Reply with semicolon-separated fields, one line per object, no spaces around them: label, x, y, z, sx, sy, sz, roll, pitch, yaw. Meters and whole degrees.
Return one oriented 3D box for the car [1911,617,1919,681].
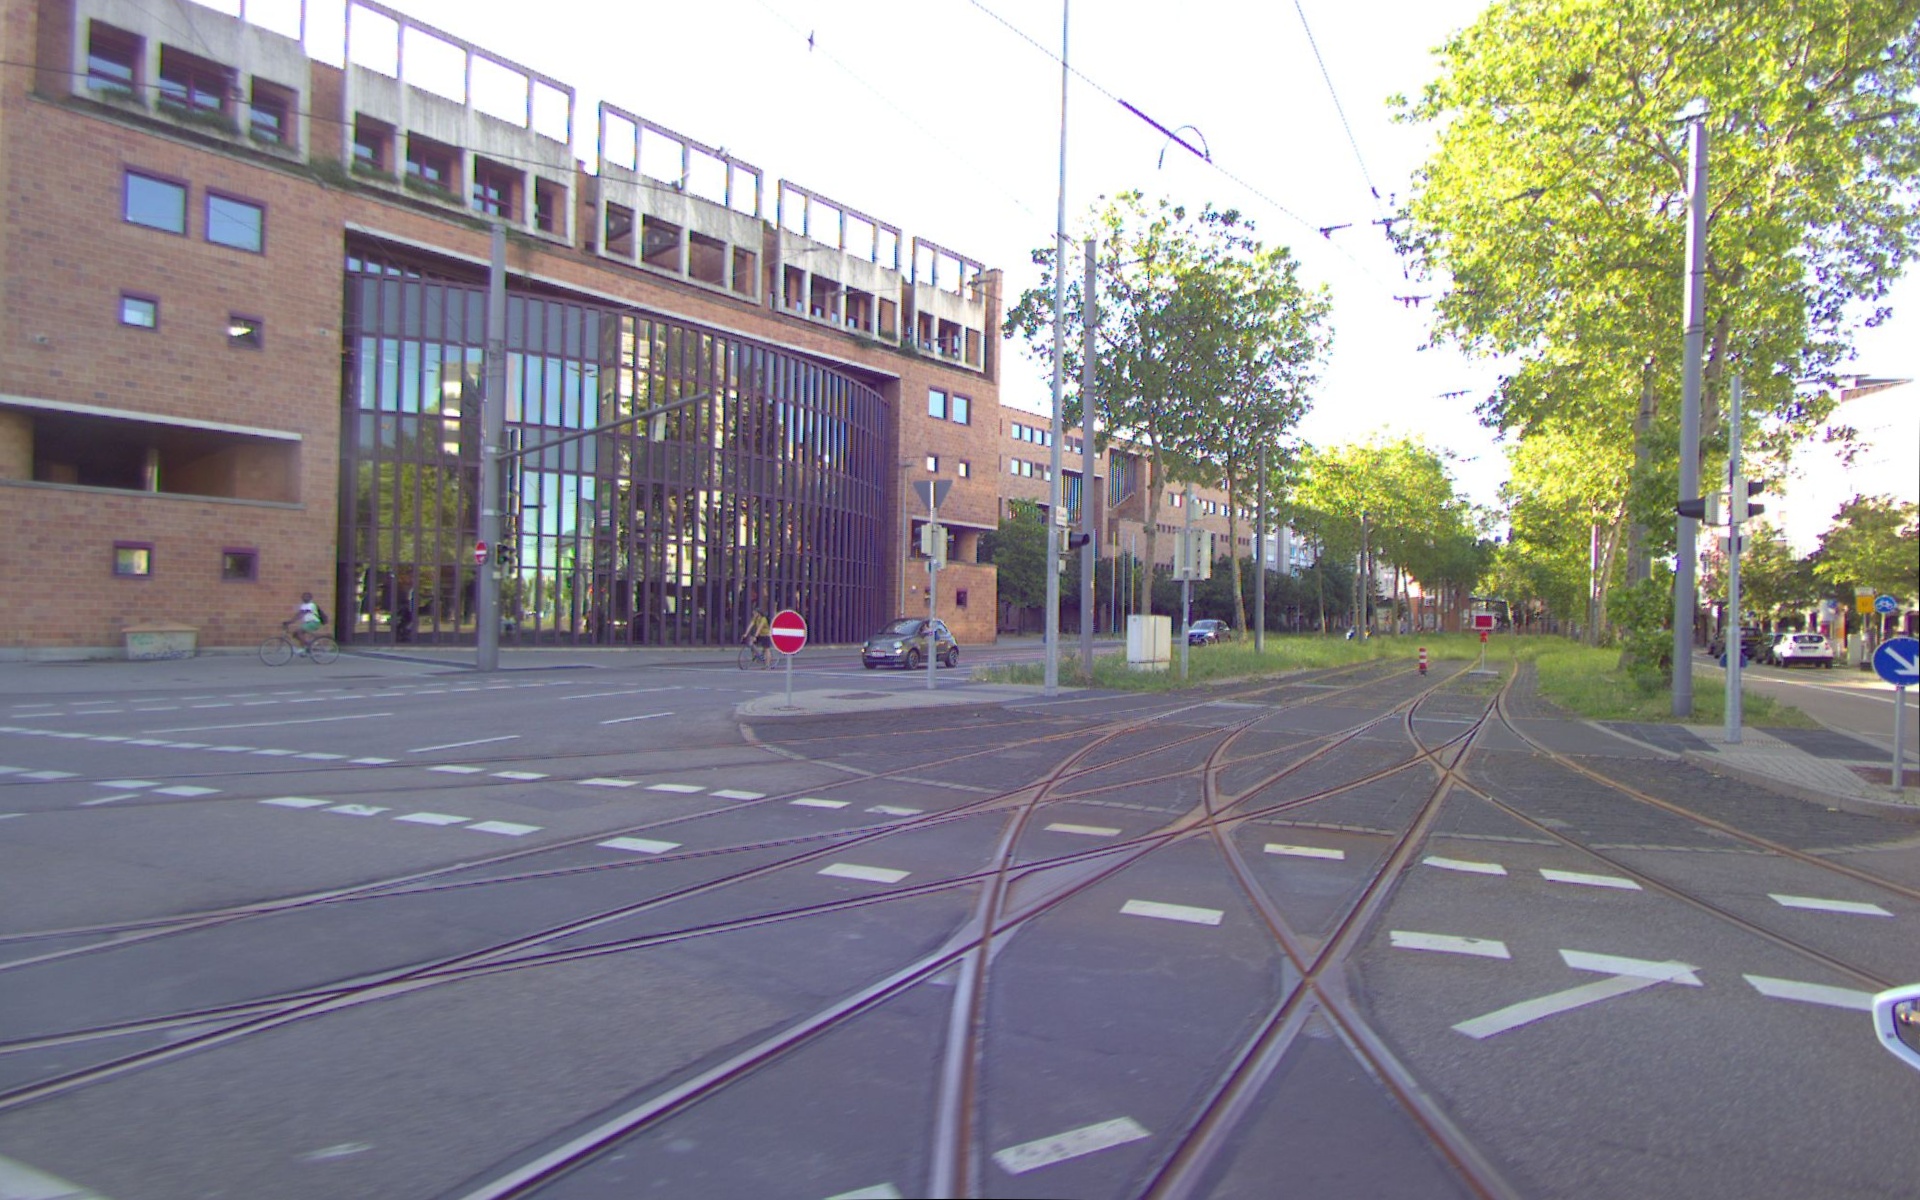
car;27.852;1.333;27.195;1.895;1.867;4.915;-3;-3;30

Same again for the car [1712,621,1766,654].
car;48.534;2.301;62.657;2.000;2.003;4.407;-1;-2;30

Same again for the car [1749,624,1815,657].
car;43.038;2.098;52.665;1.958;1.650;4.078;-1;-2;30

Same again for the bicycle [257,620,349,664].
bicycle;-17.022;1.085;26.047;1.907;1.094;0.608;2;-1;-45

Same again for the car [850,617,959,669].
car;-1.551;1.211;29.545;1.625;1.346;3.617;0;0;27

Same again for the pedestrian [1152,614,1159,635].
pedestrian;14.526;1.839;74.797;0.360;1.543;0.421;0;-1;39

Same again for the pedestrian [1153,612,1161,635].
pedestrian;14.778;1.768;75.295;0.430;1.727;0.478;0;-1;38

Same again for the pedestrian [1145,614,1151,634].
pedestrian;14.065;1.796;75.021;0.314;1.476;0.340;0;-1;37

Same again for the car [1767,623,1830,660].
car;39.771;1.945;47.739;1.834;1.660;3.857;0;-1;33

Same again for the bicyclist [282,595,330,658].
bicyclist;-16.992;0.677;26.090;0.921;1.611;0.677;1;-1;-44

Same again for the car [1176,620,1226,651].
car;13.446;1.931;55.850;1.794;1.583;4.336;0;0;27

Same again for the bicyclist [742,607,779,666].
bicyclist;-5.678;1.026;28.601;0.615;1.643;0.810;0;-1;43

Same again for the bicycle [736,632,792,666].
bicycle;-5.584;1.388;28.706;0.529;0.925;1.560;0;-1;42
